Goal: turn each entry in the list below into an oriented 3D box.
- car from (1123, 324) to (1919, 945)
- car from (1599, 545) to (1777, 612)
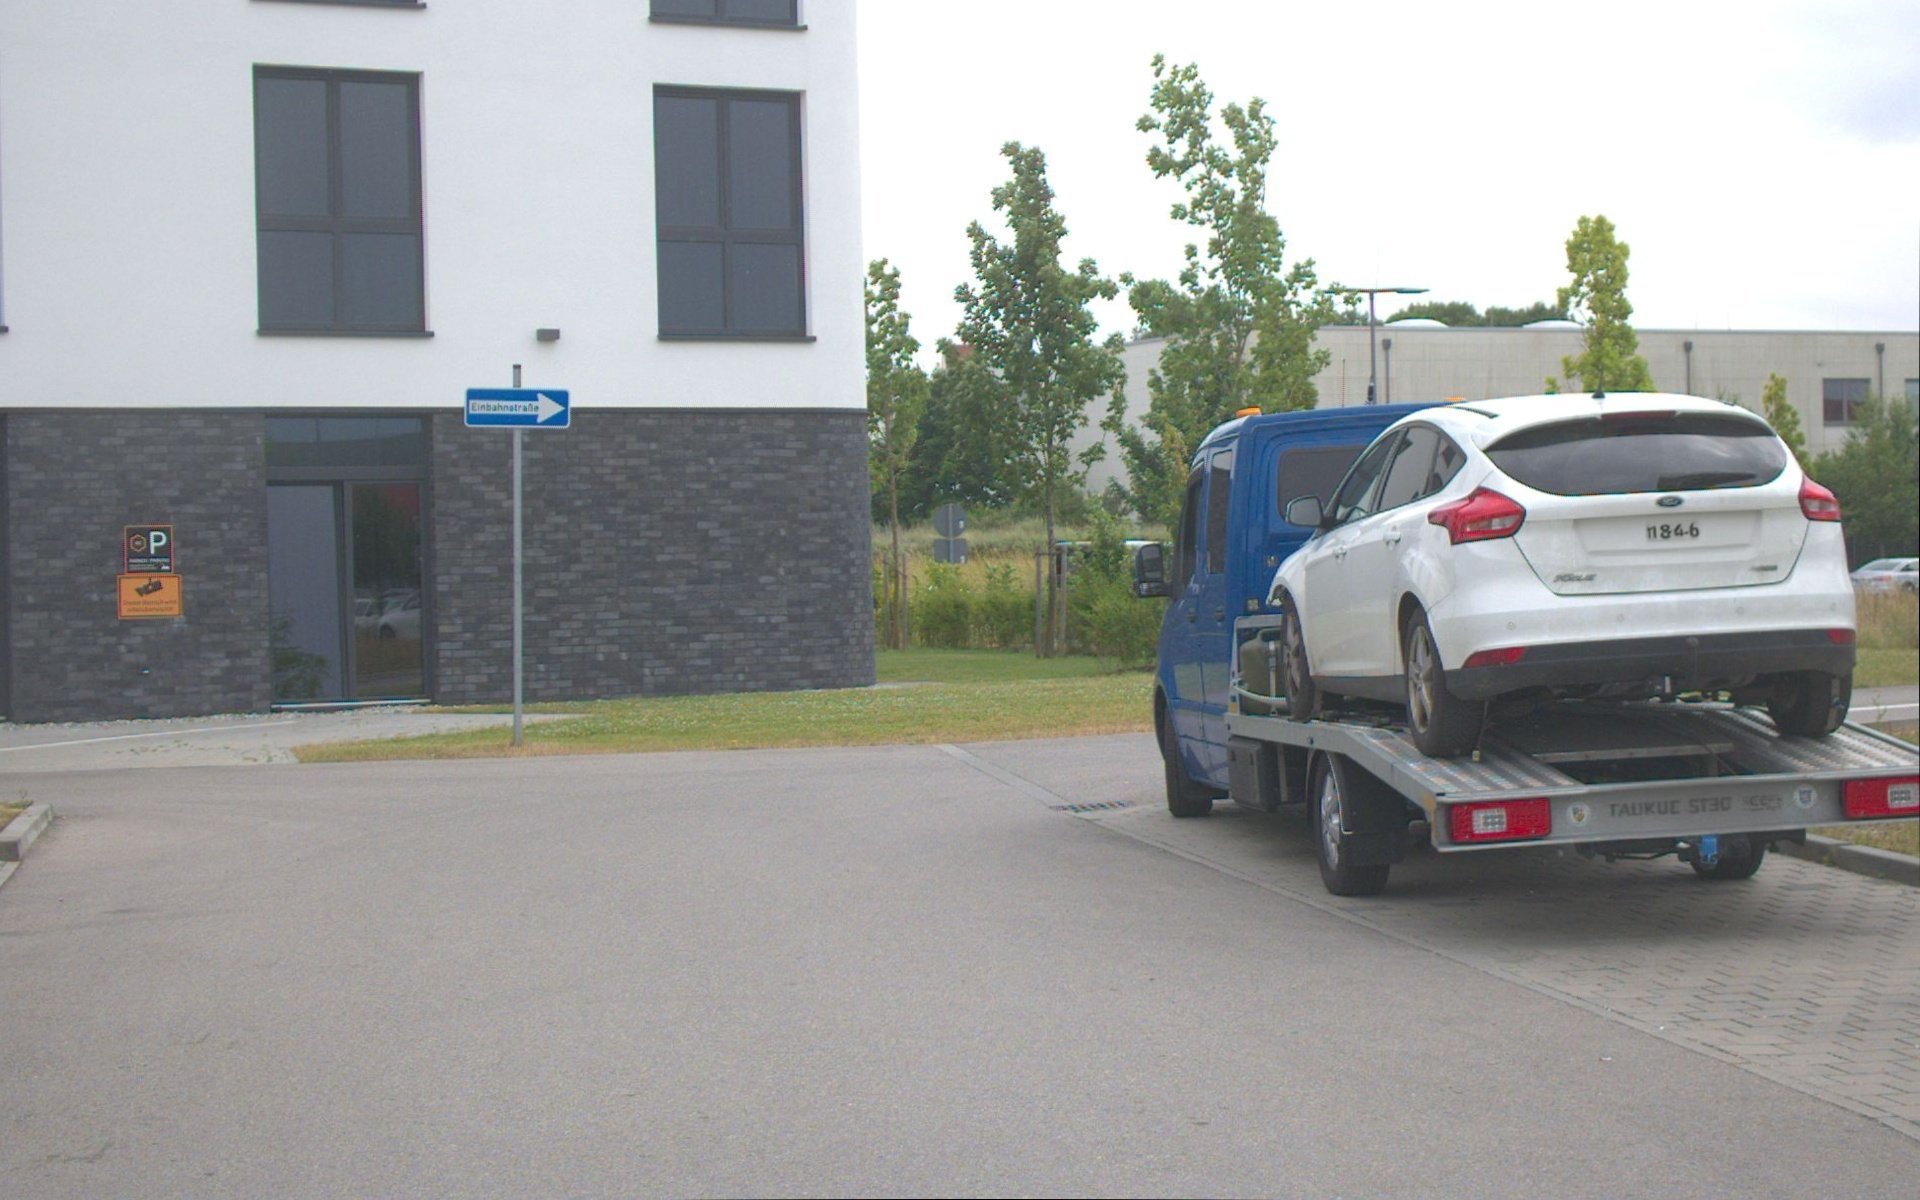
[{"bbox_3d":[2.422,0.096,16.972,2.194,2.315,7.858,-1,0,-5],"label":"car"},{"bbox_3d":[14.167,-0.445,67.059,1.714,1.220,4.001,-2,1,-16],"label":"car"}]
